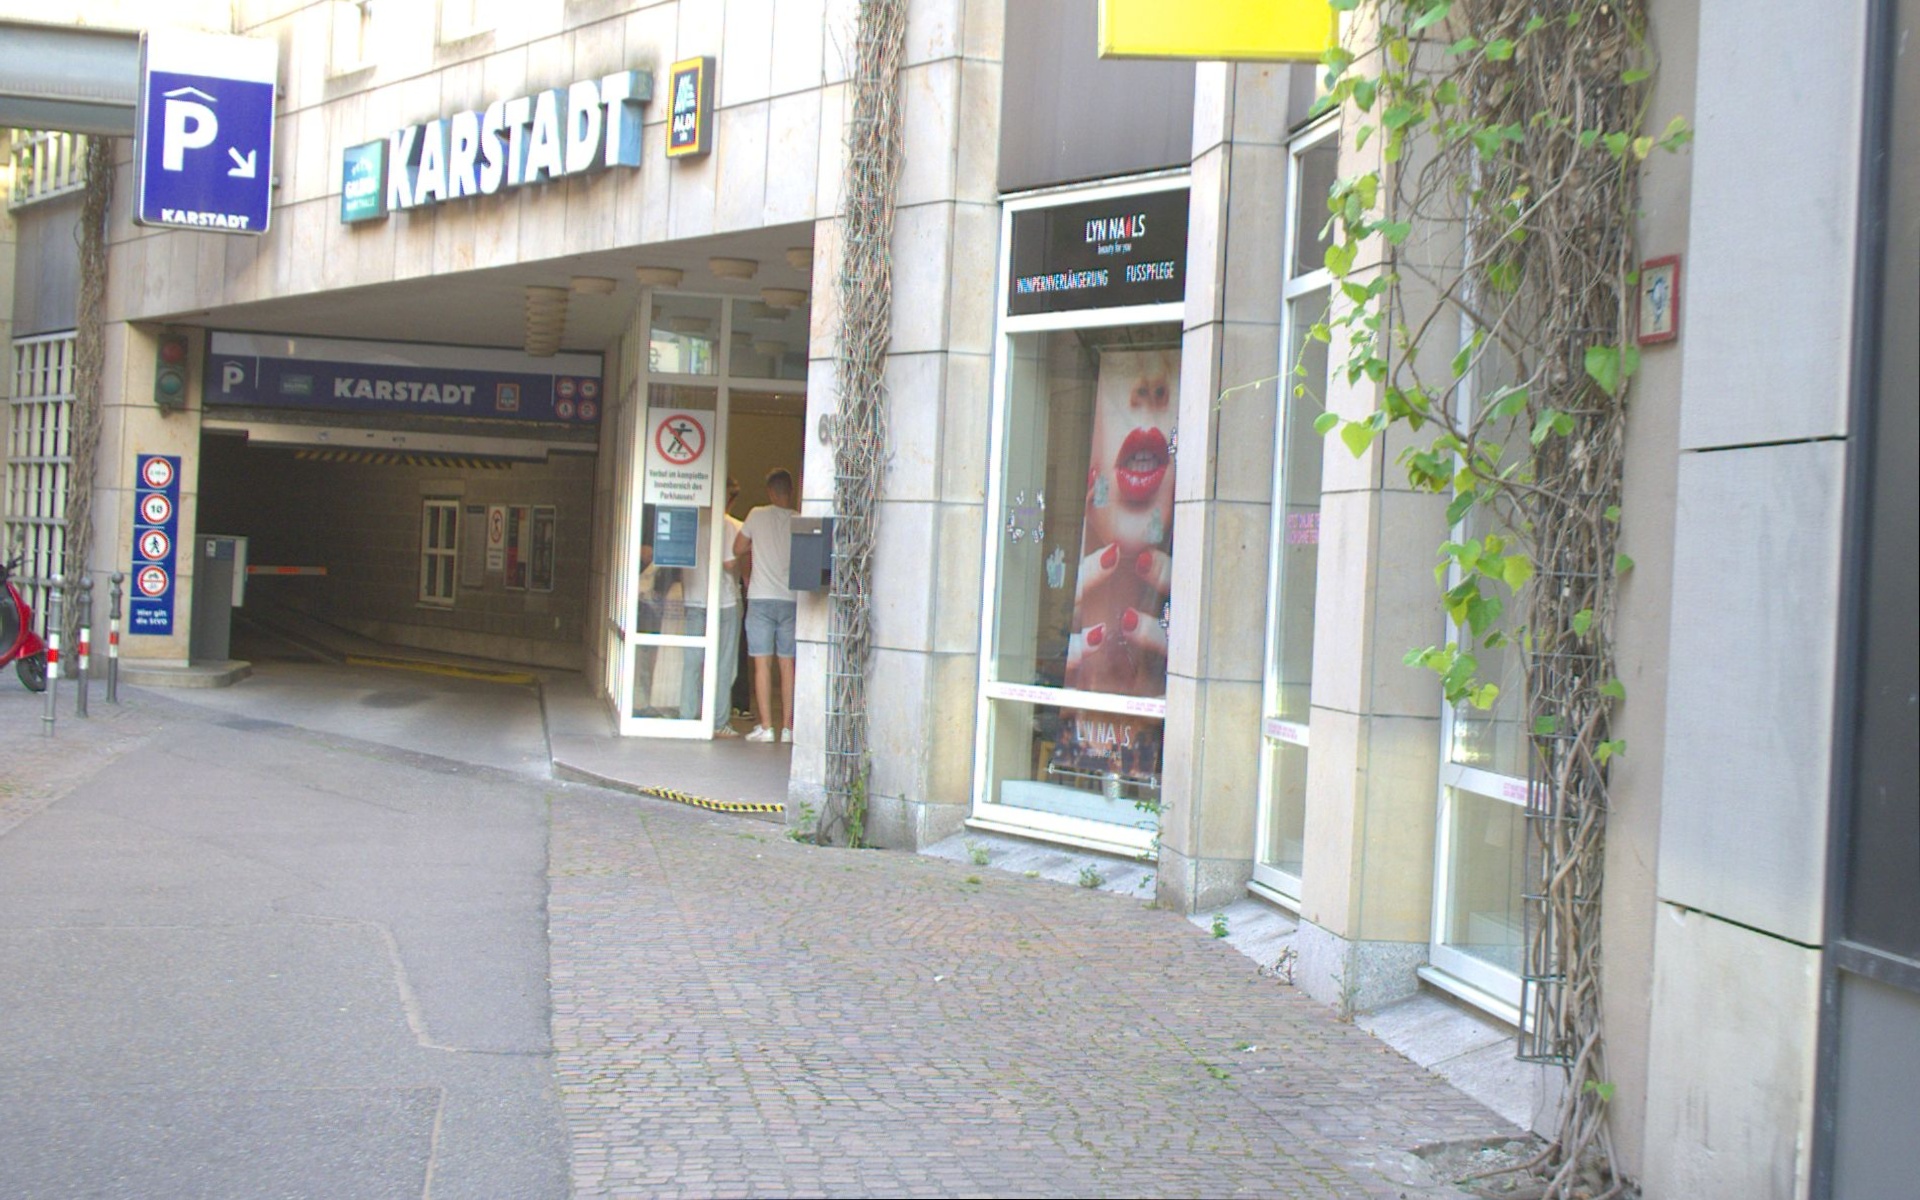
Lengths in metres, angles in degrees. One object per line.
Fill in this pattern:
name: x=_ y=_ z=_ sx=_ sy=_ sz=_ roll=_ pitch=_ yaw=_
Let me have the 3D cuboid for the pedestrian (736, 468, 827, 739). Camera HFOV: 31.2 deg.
pedestrian: x=-1.246 y=0.020 z=24.064 sx=0.542 sy=1.855 sz=0.408 roll=3 pitch=1 yaw=-1

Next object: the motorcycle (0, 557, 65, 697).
motorcycle: x=-8.410 y=0.221 z=28.662 sx=1.745 sy=1.151 sz=0.594 roll=0 pitch=1 yaw=-24

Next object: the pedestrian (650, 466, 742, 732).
pedestrian: x=-1.860 y=-0.012 z=24.230 sx=0.542 sy=1.840 sz=0.408 roll=3 pitch=1 yaw=-1
